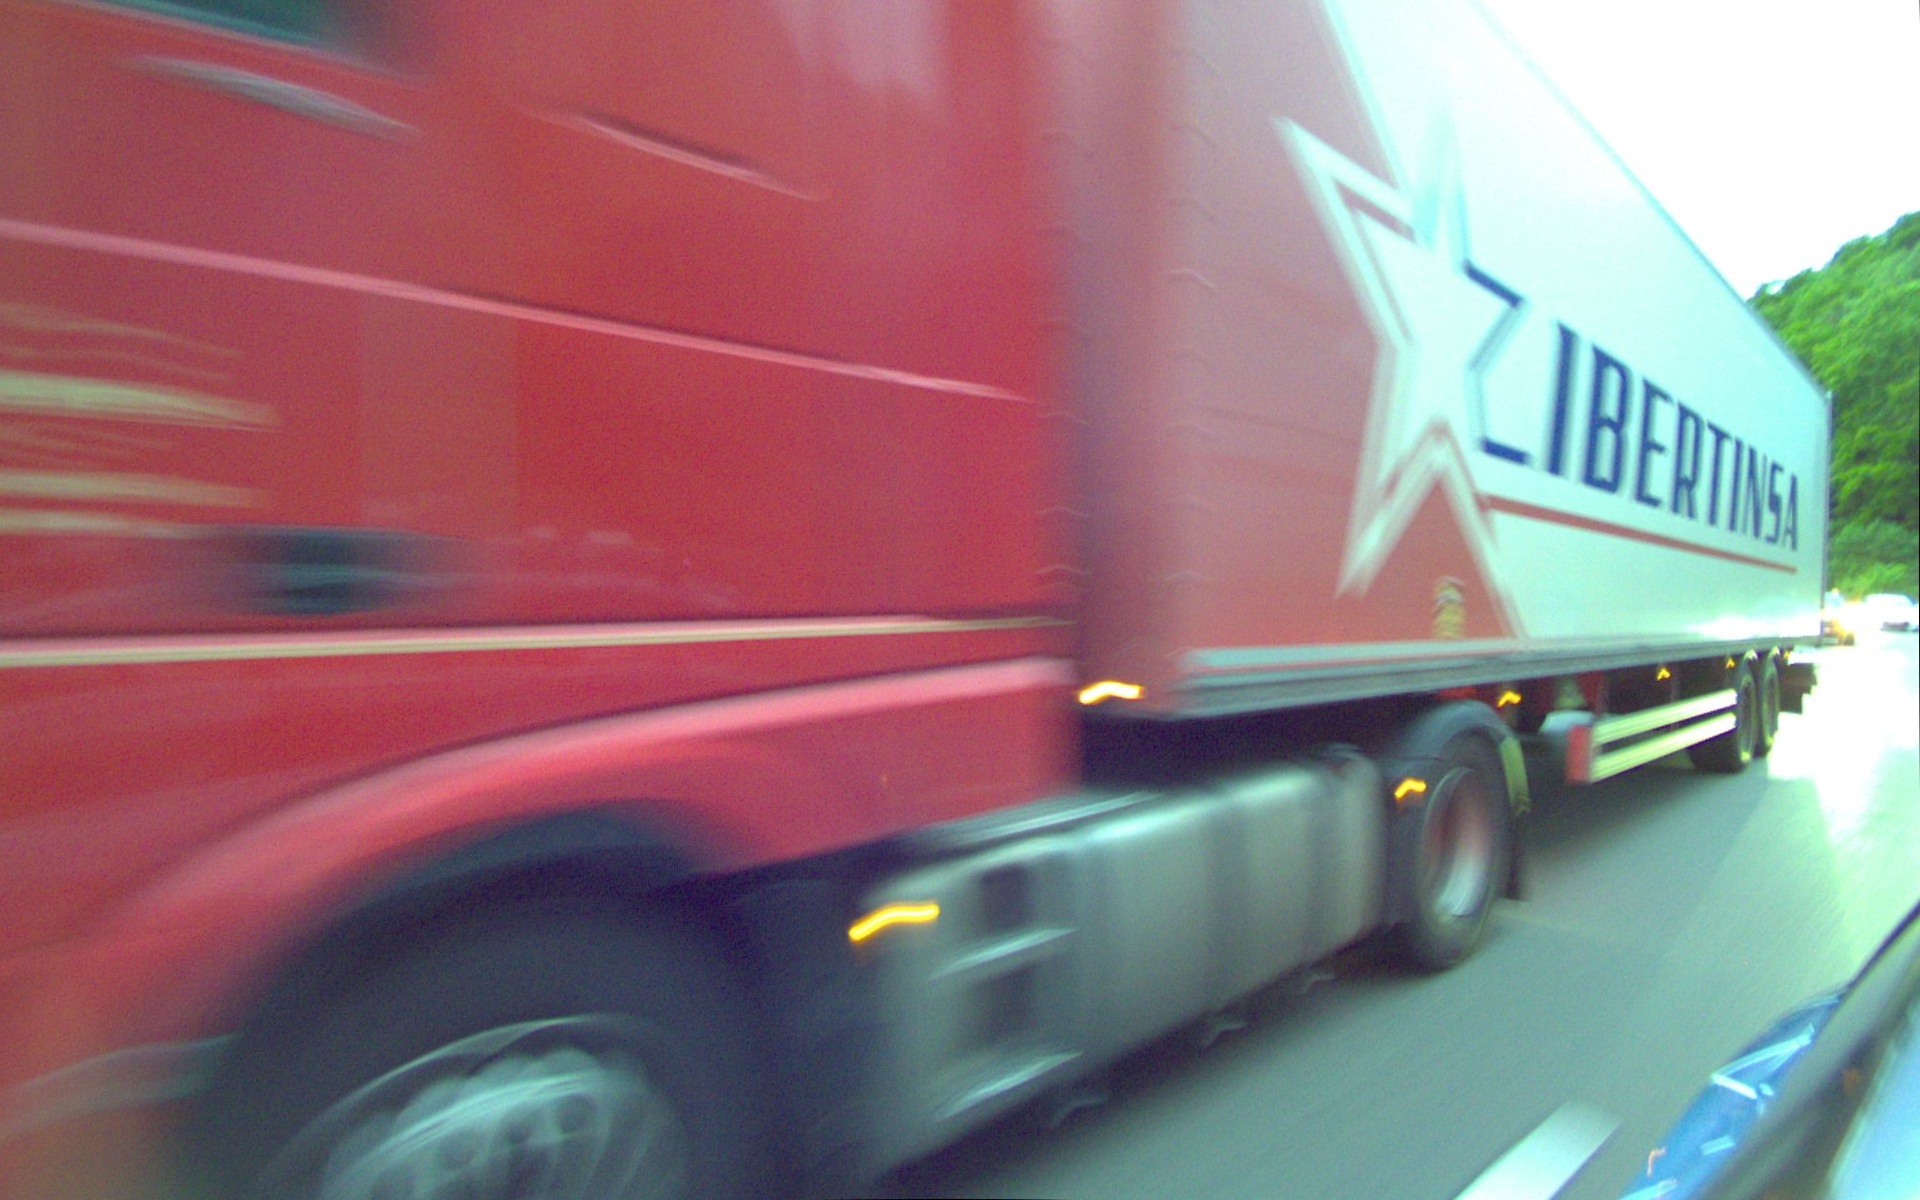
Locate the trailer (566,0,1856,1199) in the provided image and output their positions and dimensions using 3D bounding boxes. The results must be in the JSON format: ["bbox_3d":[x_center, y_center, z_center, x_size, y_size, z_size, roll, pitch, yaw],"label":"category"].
[{"bbox_3d":[4.360,-0.591,8.234,13.981,4.019,3.101,-1,3,-44],"label":"trailer"}]

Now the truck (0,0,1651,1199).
[{"bbox_3d":[0.045,-0.731,4.044,6.338,4.195,3.073,0,2,-43],"label":"truck"}]

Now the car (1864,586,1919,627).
[{"bbox_3d":[39.581,0.267,42.555,1.992,1.525,3.944,7,5,39],"label":"car"}]

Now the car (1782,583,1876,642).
[{"bbox_3d":[27.259,0.334,31.854,1.990,1.660,3.946,2,2,38],"label":"car"}]
